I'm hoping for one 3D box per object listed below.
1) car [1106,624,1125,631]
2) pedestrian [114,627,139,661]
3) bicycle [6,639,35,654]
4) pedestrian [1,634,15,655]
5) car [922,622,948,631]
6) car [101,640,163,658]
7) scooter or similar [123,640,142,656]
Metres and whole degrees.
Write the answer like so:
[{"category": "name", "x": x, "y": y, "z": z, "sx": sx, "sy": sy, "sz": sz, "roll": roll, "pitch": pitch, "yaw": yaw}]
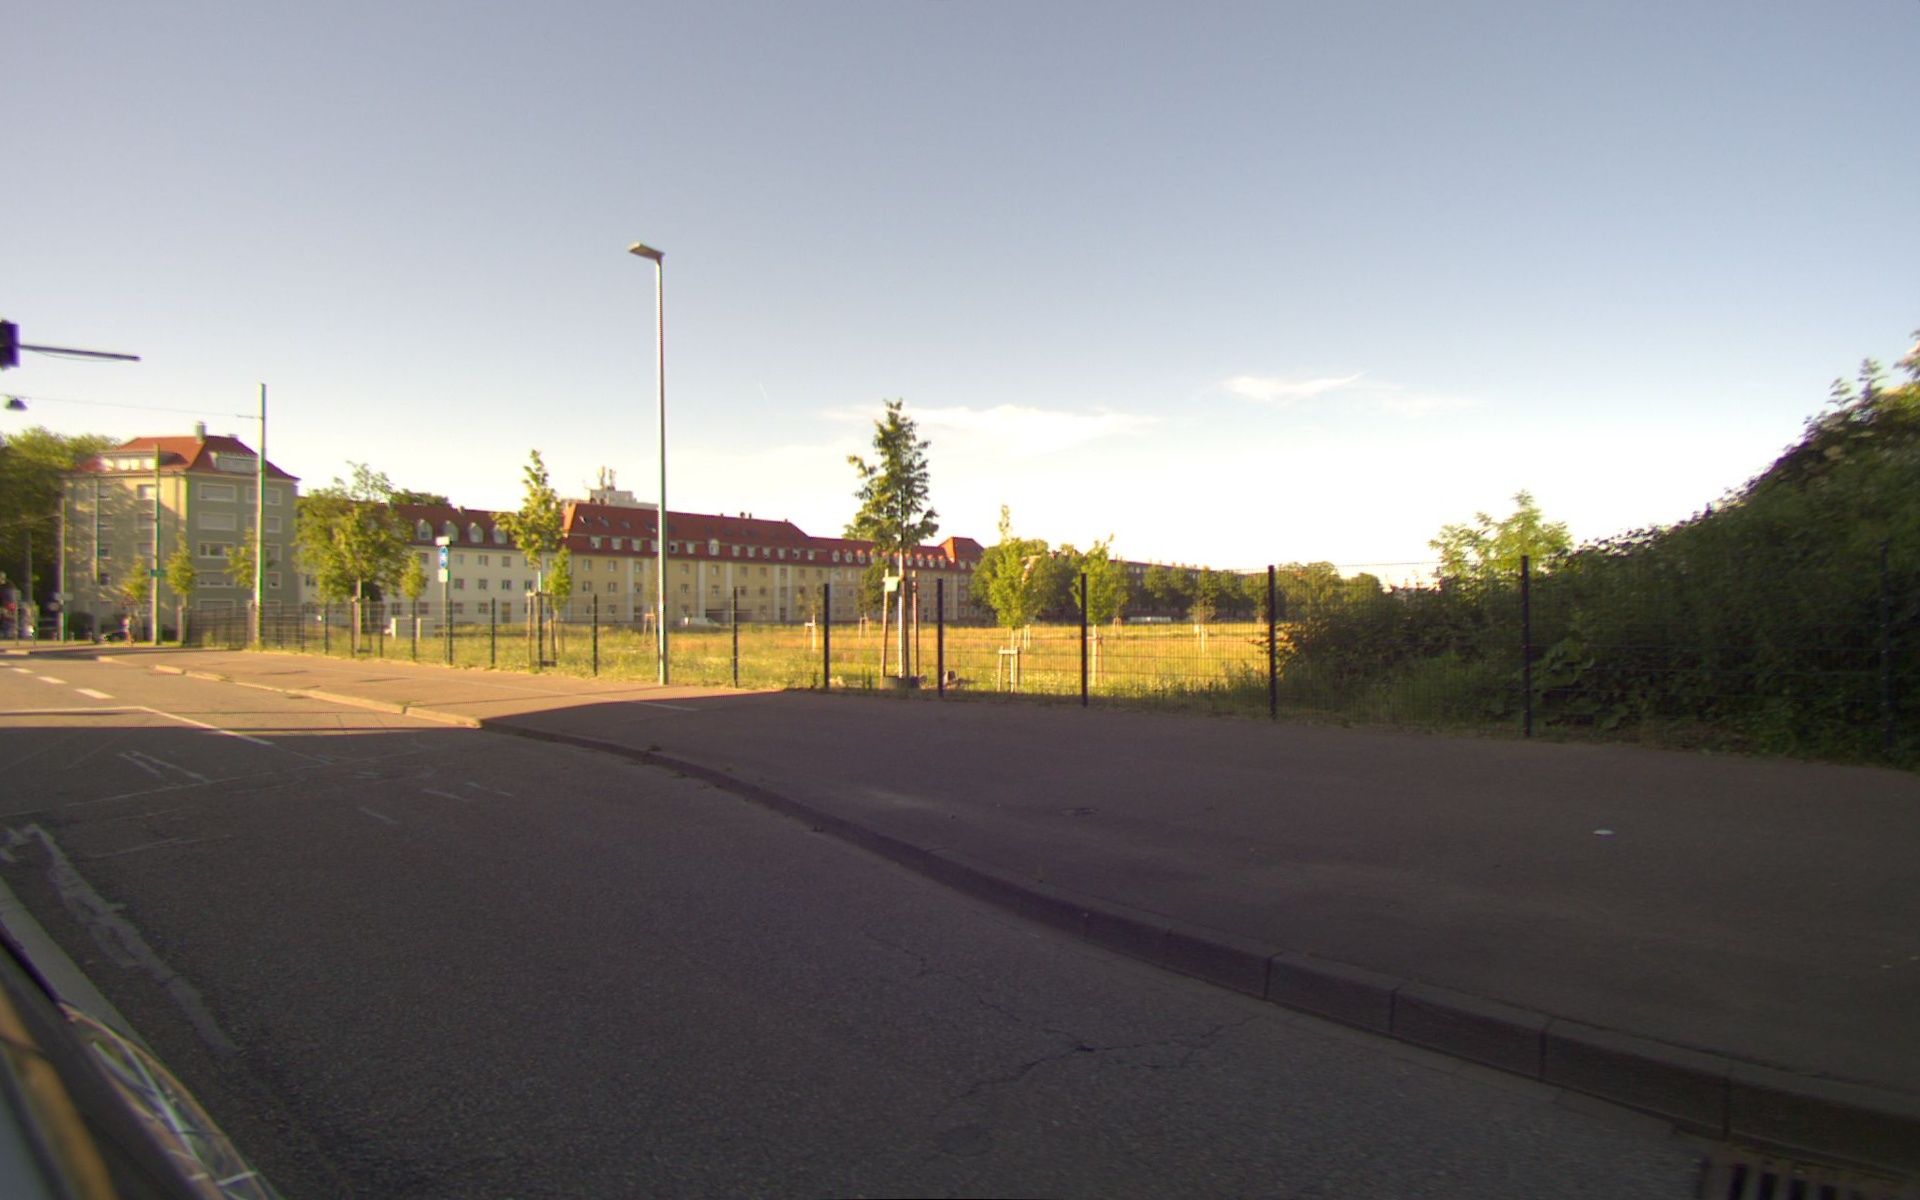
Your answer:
[{"category": "car", "x": 32.888, "y": 5.852, "z": 213.626, "sx": 1.942, "sy": 1.505, "sz": 4.148, "roll": -4, "pitch": -4, "yaw": 42}, {"category": "pedestrian", "x": -42.006, "y": 2.204, "z": 50.981, "sx": 1.181, "sy": 1.641, "sz": 0.823, "roll": -2, "pitch": 0, "yaw": 44}, {"category": "bicycle", "x": -94.714, "y": 4.723, "z": 102.029, "sx": 2.017, "sy": 1.473, "sz": 0.728, "roll": 2, "pitch": 0, "yaw": -20}, {"category": "pedestrian", "x": -96.392, "y": 4.496, "z": 102.455, "sx": 0.685, "sy": 1.978, "sz": 0.930, "roll": -1, "pitch": 1, "yaw": -19}, {"category": "car", "x": -4.166, "y": 4.471, "z": 169.149, "sx": 1.942, "sy": 1.505, "sz": 4.148, "roll": -4, "pitch": -4, "yaw": 42}, {"category": "car", "x": -75.095, "y": 4.474, "z": 91.839, "sx": 1.942, "sy": 1.505, "sz": 4.148, "roll": -4, "pitch": -4, "yaw": 42}, {"category": "scooter or similar", "x": -67.444, "y": 3.918, "z": 82.453, "sx": 0.586, "sy": 1.153, "sz": 1.269, "roll": 0, "pitch": -6, "yaw": -8}]
